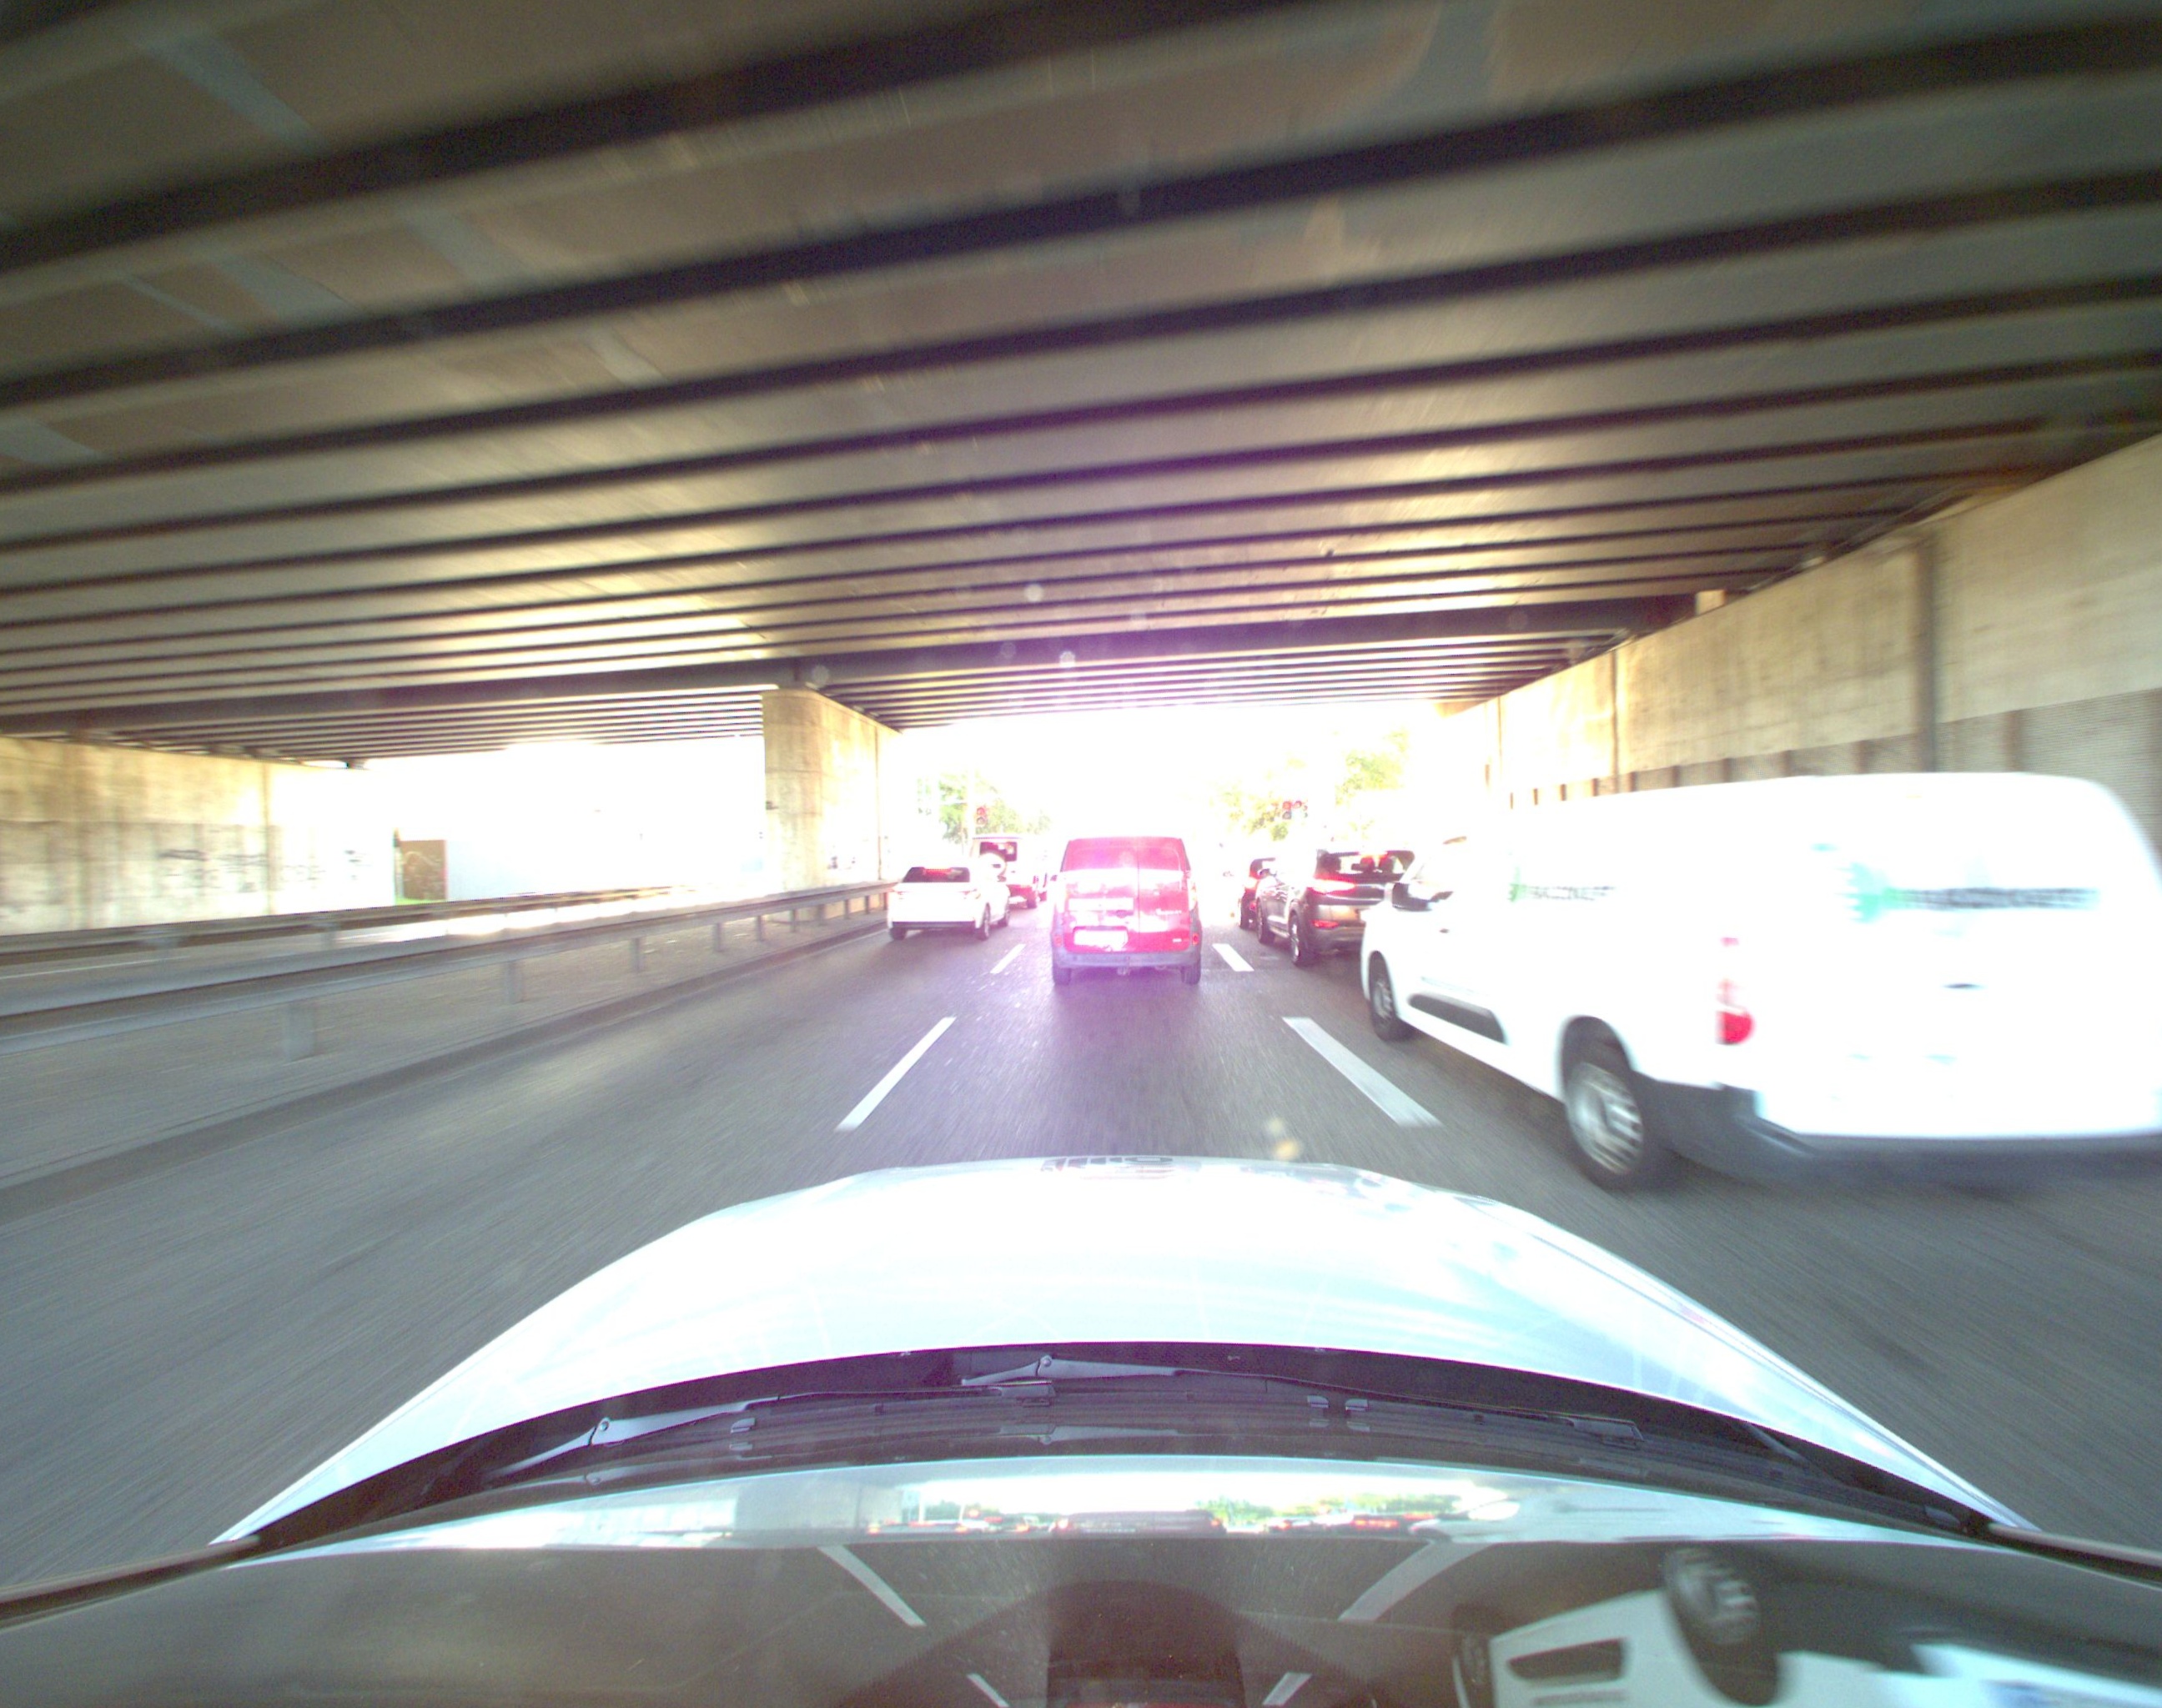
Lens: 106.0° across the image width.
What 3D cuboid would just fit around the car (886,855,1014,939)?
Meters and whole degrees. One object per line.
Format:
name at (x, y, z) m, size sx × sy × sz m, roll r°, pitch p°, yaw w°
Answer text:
car at (-2.386, 0.734, 15.745) m, size 1.685 × 1.410 × 3.816 m, roll 0°, pitch 0°, yaw 3°

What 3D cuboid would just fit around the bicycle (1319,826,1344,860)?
bicycle at (7.834, -0.317, 25.488) m, size 0.672 × 1.024 × 1.534 m, roll 0°, pitch -1°, yaw 14°

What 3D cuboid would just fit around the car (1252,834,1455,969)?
car at (3.749, 0.573, 11.945) m, size 1.771 × 1.656 × 3.992 m, roll 0°, pitch 0°, yaw 2°

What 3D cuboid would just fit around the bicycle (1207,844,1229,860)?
bicycle at (11.372, -0.168, 67.499) m, size 1.725 × 1.233 × 0.557 m, roll -1°, pitch -1°, yaw -4°

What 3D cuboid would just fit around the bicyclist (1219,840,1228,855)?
bicyclist at (12.220, -0.541, 69.699) m, size 0.650 × 1.329 × 0.603 m, roll 0°, pitch -1°, yaw 0°

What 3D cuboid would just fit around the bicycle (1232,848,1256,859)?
bicycle at (13.602, -0.014, 68.091) m, size 1.943 × 0.874 × 0.700 m, roll -1°, pitch 0°, yaw 6°

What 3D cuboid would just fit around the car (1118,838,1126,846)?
car at (11.347, -3.379, 224.897) m, size 1.985 × 2.014 × 4.003 m, roll 0°, pitch -1°, yaw 3°

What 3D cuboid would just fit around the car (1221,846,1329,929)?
car at (3.981, 0.605, 17.271) m, size 1.645 × 1.552 × 3.868 m, roll 0°, pitch 1°, yaw 4°

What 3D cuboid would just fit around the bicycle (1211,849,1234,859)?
bicycle at (12.113, -0.014, 69.663) m, size 1.907 × 0.867 × 0.605 m, roll -1°, pitch -1°, yaw -1°

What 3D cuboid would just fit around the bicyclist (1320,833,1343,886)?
bicyclist at (7.834, 0.174, 25.484) m, size 0.672 × 1.629 × 0.646 m, roll 0°, pitch -1°, yaw 14°

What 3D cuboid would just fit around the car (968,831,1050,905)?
car at (-1.958, 0.371, 23.116) m, size 1.806 × 1.904 × 3.816 m, roll 0°, pitch 0°, yaw 2°

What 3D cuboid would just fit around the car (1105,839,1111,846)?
car at (8.595, -3.612, 257.212) m, size 1.985 × 2.014 × 4.003 m, roll 0°, pitch -1°, yaw 3°

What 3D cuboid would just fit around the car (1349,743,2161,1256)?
car at (3.218, 0.518, 5.067) m, size 1.807 × 1.833 × 4.302 m, roll 0°, pitch 0°, yaw 2°

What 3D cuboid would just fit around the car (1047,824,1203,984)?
car at (0.600, 0.561, 11.018) m, size 1.711 × 1.764 × 4.003 m, roll 0°, pitch 0°, yaw 3°

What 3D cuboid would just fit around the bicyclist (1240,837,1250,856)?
bicyclist at (13.678, -0.650, 68.091) m, size 0.751 × 1.542 × 0.698 m, roll -1°, pitch 0°, yaw 6°

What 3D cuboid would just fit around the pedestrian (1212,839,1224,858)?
pedestrian at (11.368, -0.491, 67.497) m, size 0.835 × 1.554 × 0.556 m, roll -1°, pitch 0°, yaw -4°
